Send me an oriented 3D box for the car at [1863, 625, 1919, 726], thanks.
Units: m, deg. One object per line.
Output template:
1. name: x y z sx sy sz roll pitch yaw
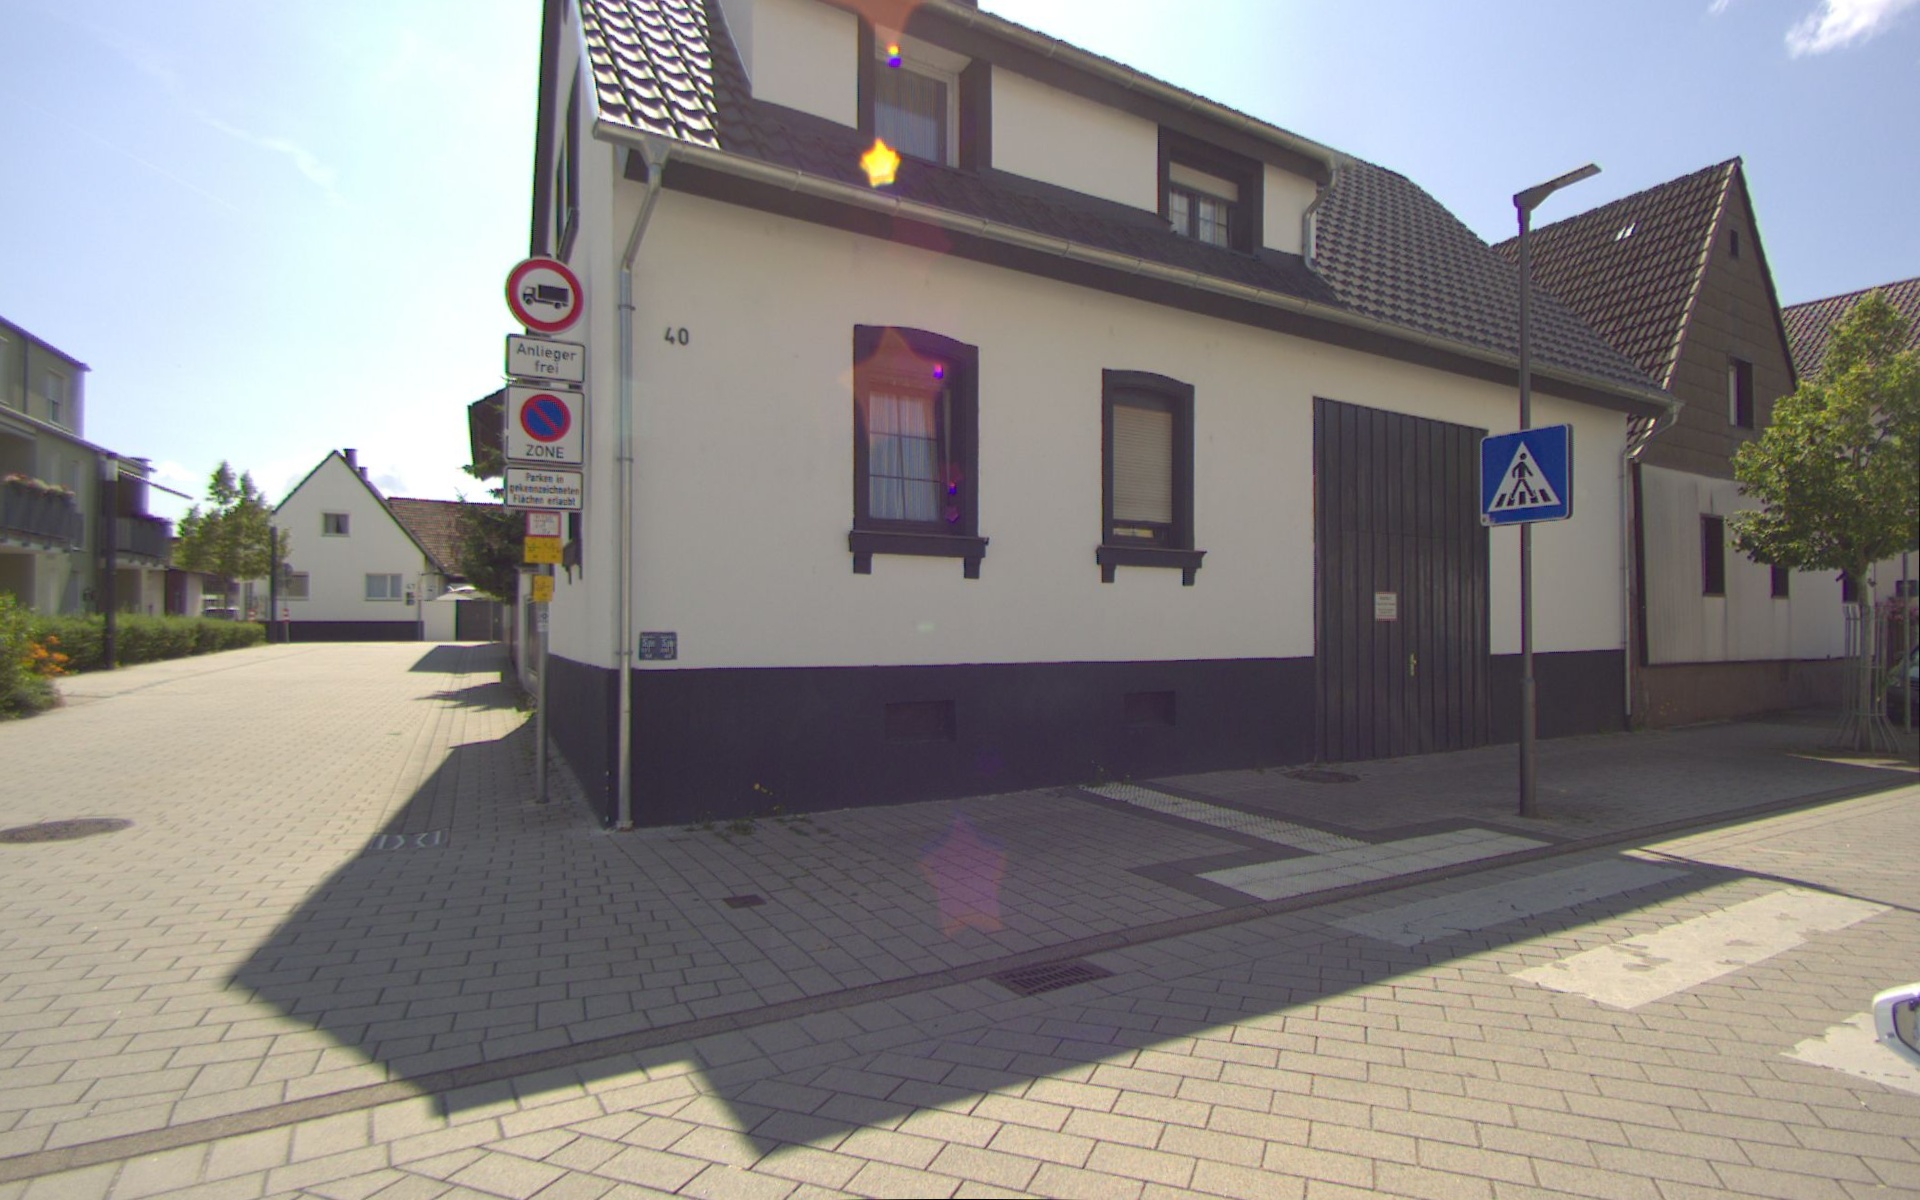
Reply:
1. car: 16.718 1.211 16.573 3.956 1.550 1.737 1 0 -33
